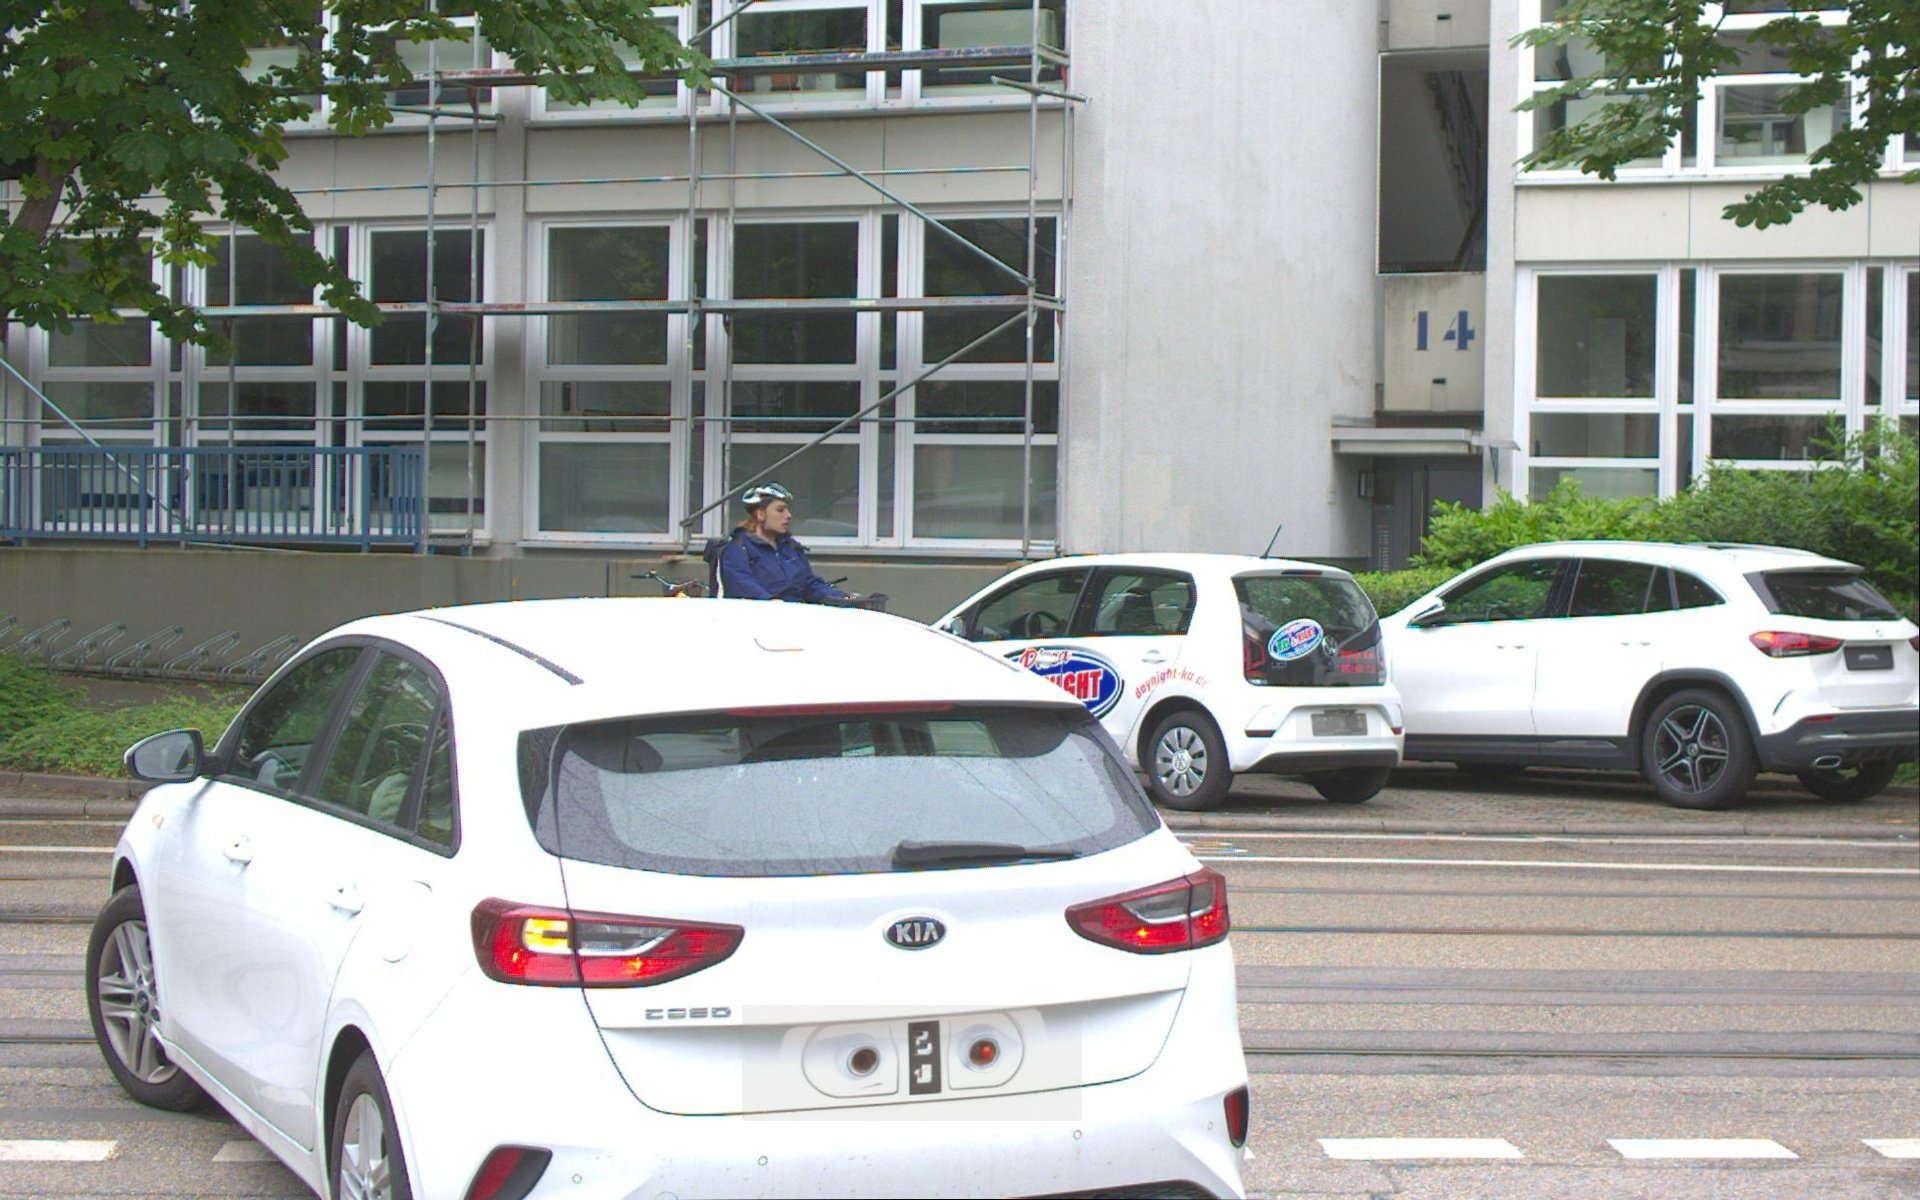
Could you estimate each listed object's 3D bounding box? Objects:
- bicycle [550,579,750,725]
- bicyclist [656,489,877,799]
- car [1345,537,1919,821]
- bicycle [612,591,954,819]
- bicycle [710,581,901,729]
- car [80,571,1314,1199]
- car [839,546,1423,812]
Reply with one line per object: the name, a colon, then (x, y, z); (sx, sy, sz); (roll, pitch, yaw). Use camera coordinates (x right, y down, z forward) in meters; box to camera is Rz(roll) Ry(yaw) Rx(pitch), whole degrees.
bicycle: (-2.426, 0.388, 27.212); (0.645, 1.071, 2.310); (1, 1, 20)
bicyclist: (-1.095, 0.230, 19.383); (0.896, 1.692, 0.832); (2, 1, 45)
car: (4.210, 0.421, 21.333); (1.552, 1.612, 3.406); (0, 1, -44)
bicycle: (-1.011, 0.558, 19.298); (1.914, 1.170, 0.819); (2, 2, 44)
bicycle: (-1.173, 0.403, 26.722); (0.645, 1.071, 2.310); (1, 1, 20)
car: (-0.891, 0.733, 8.110); (1.775, 1.427, 3.980); (-1, 3, -22)
car: (0.983, 0.417, 20.914); (1.552, 1.468, 3.406); (0, 1, -44)
